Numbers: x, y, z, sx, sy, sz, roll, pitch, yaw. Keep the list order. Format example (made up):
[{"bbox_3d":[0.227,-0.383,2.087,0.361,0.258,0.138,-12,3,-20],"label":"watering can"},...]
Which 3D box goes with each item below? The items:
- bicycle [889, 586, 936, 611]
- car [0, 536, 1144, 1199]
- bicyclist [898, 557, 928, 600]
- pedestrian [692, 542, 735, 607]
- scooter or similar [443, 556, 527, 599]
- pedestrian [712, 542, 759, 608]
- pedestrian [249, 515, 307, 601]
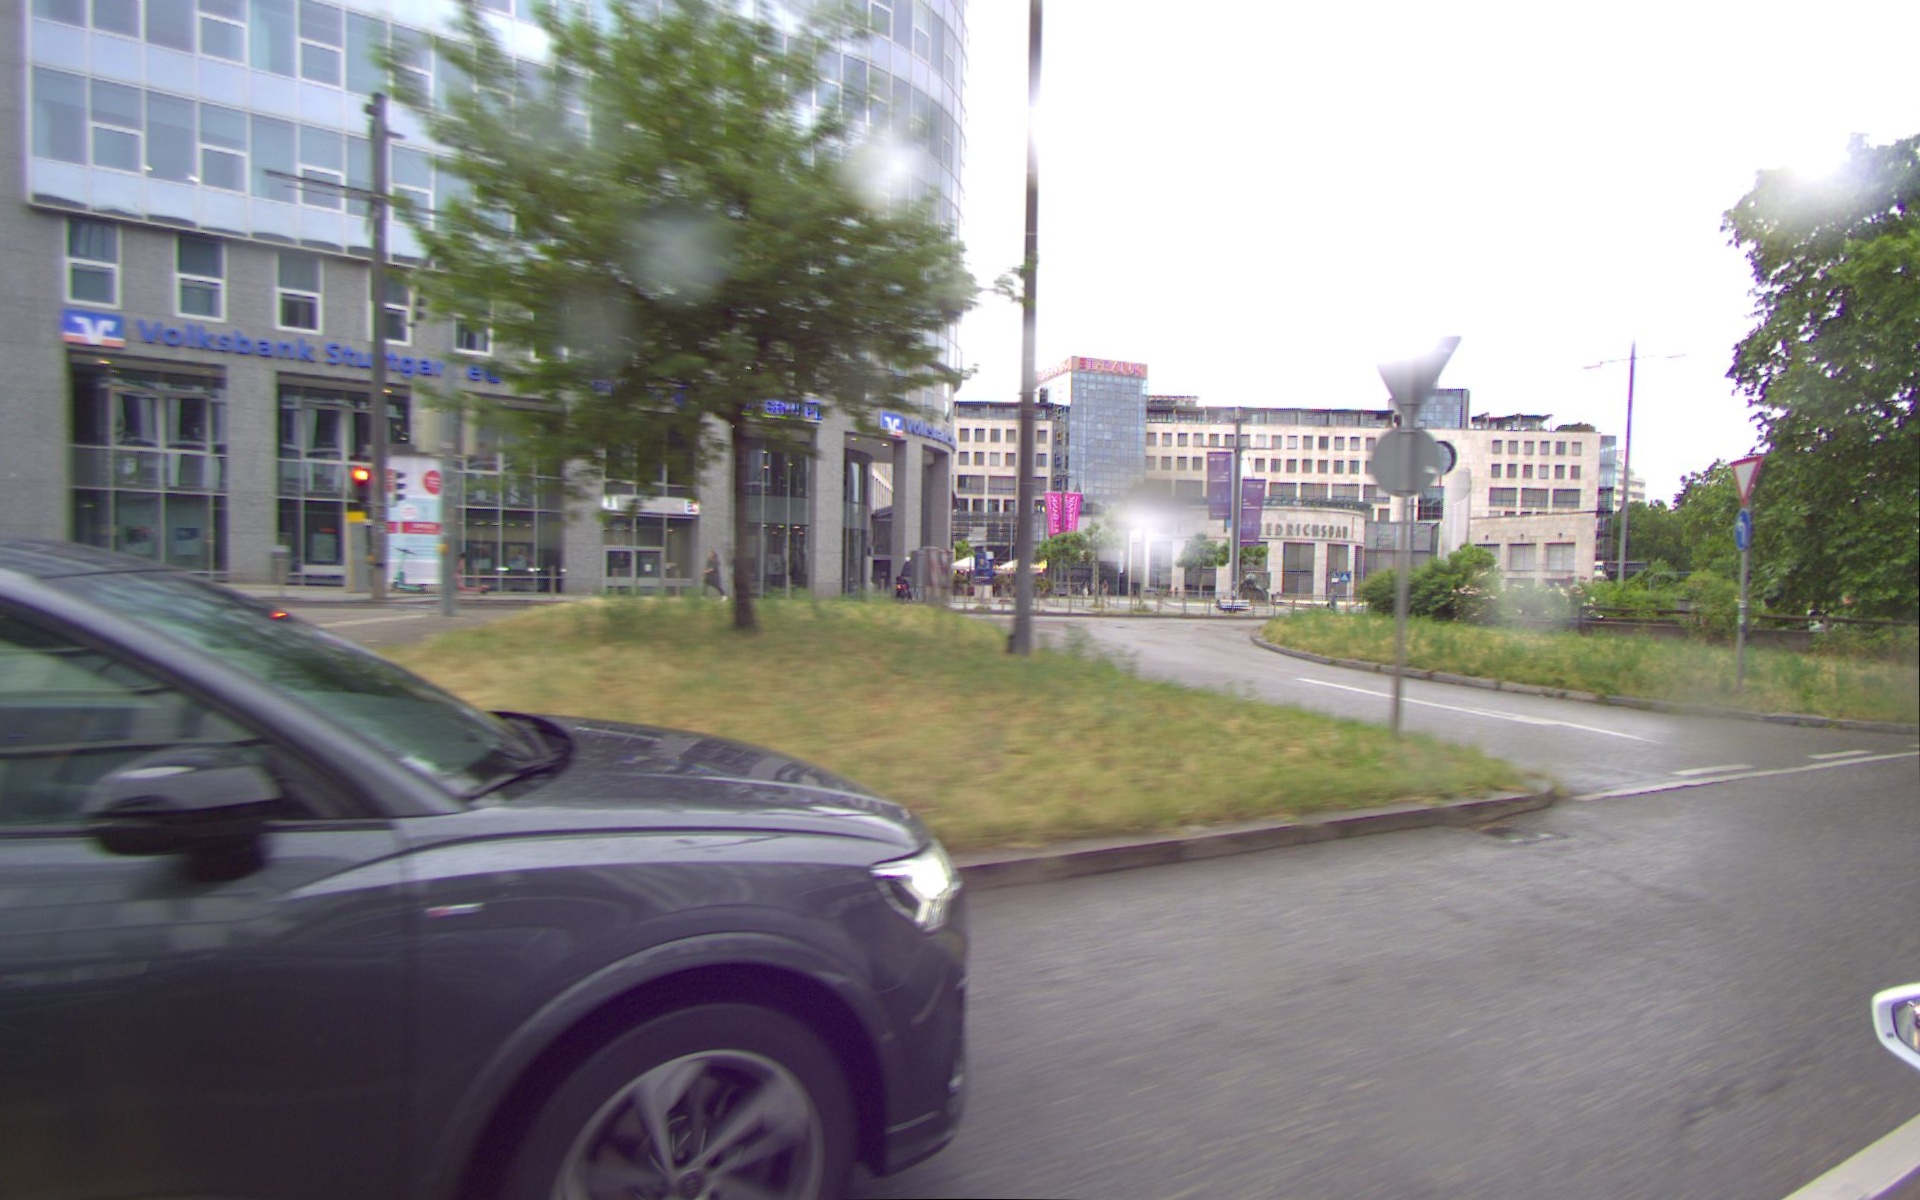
[{"bbox_3d":[-1.993,-0.055,42.411,1.920,1.020,0.737,1,1,-43],"label":"bicycle"},{"bbox_3d":[-1.911,0.648,2.075,4.293,1.538,1.852,2,1,-29],"label":"car"},{"bbox_3d":[-1.982,-0.907,42.382,1.034,1.764,0.730,1,1,-43],"label":"bicyclist"},{"bbox_3d":[-8.053,-0.826,32.845,1.028,2.040,0.841,2,1,-43],"label":"pedestrian"},{"bbox_3d":[-14.498,-0.672,30.683,2.223,1.229,0.768,2,2,-34],"label":"scooter or similar"},{"bbox_3d":[-7.172,-0.789,32.130,1.028,2.040,1.042,2,1,-43],"label":"pedestrian"},{"bbox_3d":[-15.760,-0.962,23.203,0.926,1.906,0.947,2,1,-43],"label":"pedestrian"}]
